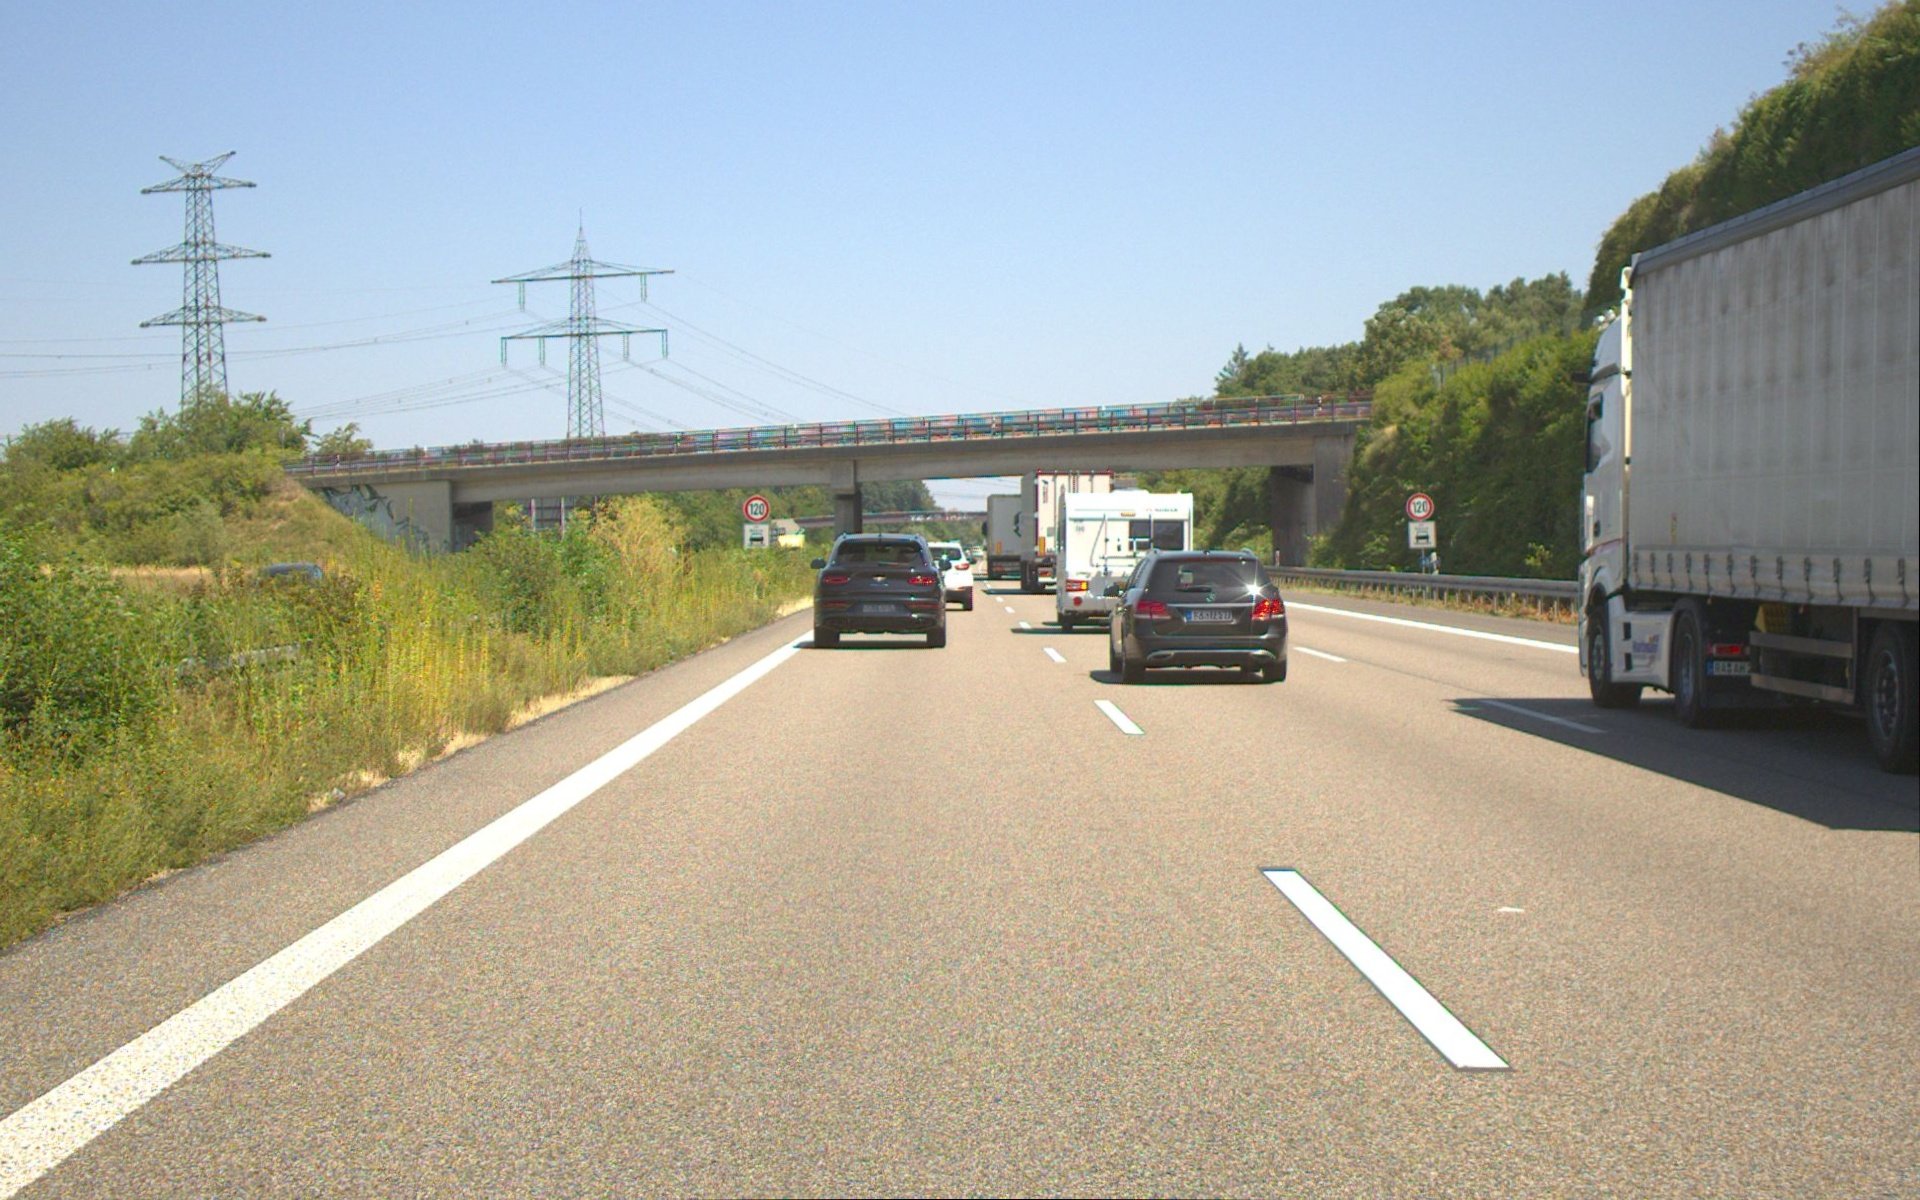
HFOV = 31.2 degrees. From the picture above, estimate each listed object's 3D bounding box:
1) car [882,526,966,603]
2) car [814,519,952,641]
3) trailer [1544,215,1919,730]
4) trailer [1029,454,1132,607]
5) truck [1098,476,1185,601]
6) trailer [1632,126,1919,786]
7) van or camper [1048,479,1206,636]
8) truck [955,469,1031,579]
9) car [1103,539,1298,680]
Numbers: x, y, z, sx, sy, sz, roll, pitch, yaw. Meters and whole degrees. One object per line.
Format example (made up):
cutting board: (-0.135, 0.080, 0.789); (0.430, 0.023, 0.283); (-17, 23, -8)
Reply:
car: (-0.869, -0.886, 83.692); (1.961, 1.808, 4.449); (-1, 1, -1)
car: (-1.154, -0.334, 52.497); (1.993, 1.766, 4.000); (-1, 1, -1)
trailer: (7.208, -1.072, 30.766); (2.713, 4.088, 6.789); (0, 1, -1)
trailer: (3.996, -2.285, 116.613); (3.087, 4.868, 12.258); (1, 1, 1)
truck: (7.300, -2.468, 139.398); (3.087, 4.868, 8.798); (1, 1, 1)
trailer: (7.296, -0.930, 23.360); (2.728, 4.088, 13.190); (0, 1, -1)
van or camper: (2.951, -0.791, 62.228); (2.439, 2.665, 6.350); (-1, 1, -1)
truck: (1.596, -3.627, 166.072); (3.512, 5.149, 10.258); (0, 1, 1)
car: (2.695, 0.061, 39.527); (1.841, 1.500, 4.738); (0, 1, -1)
